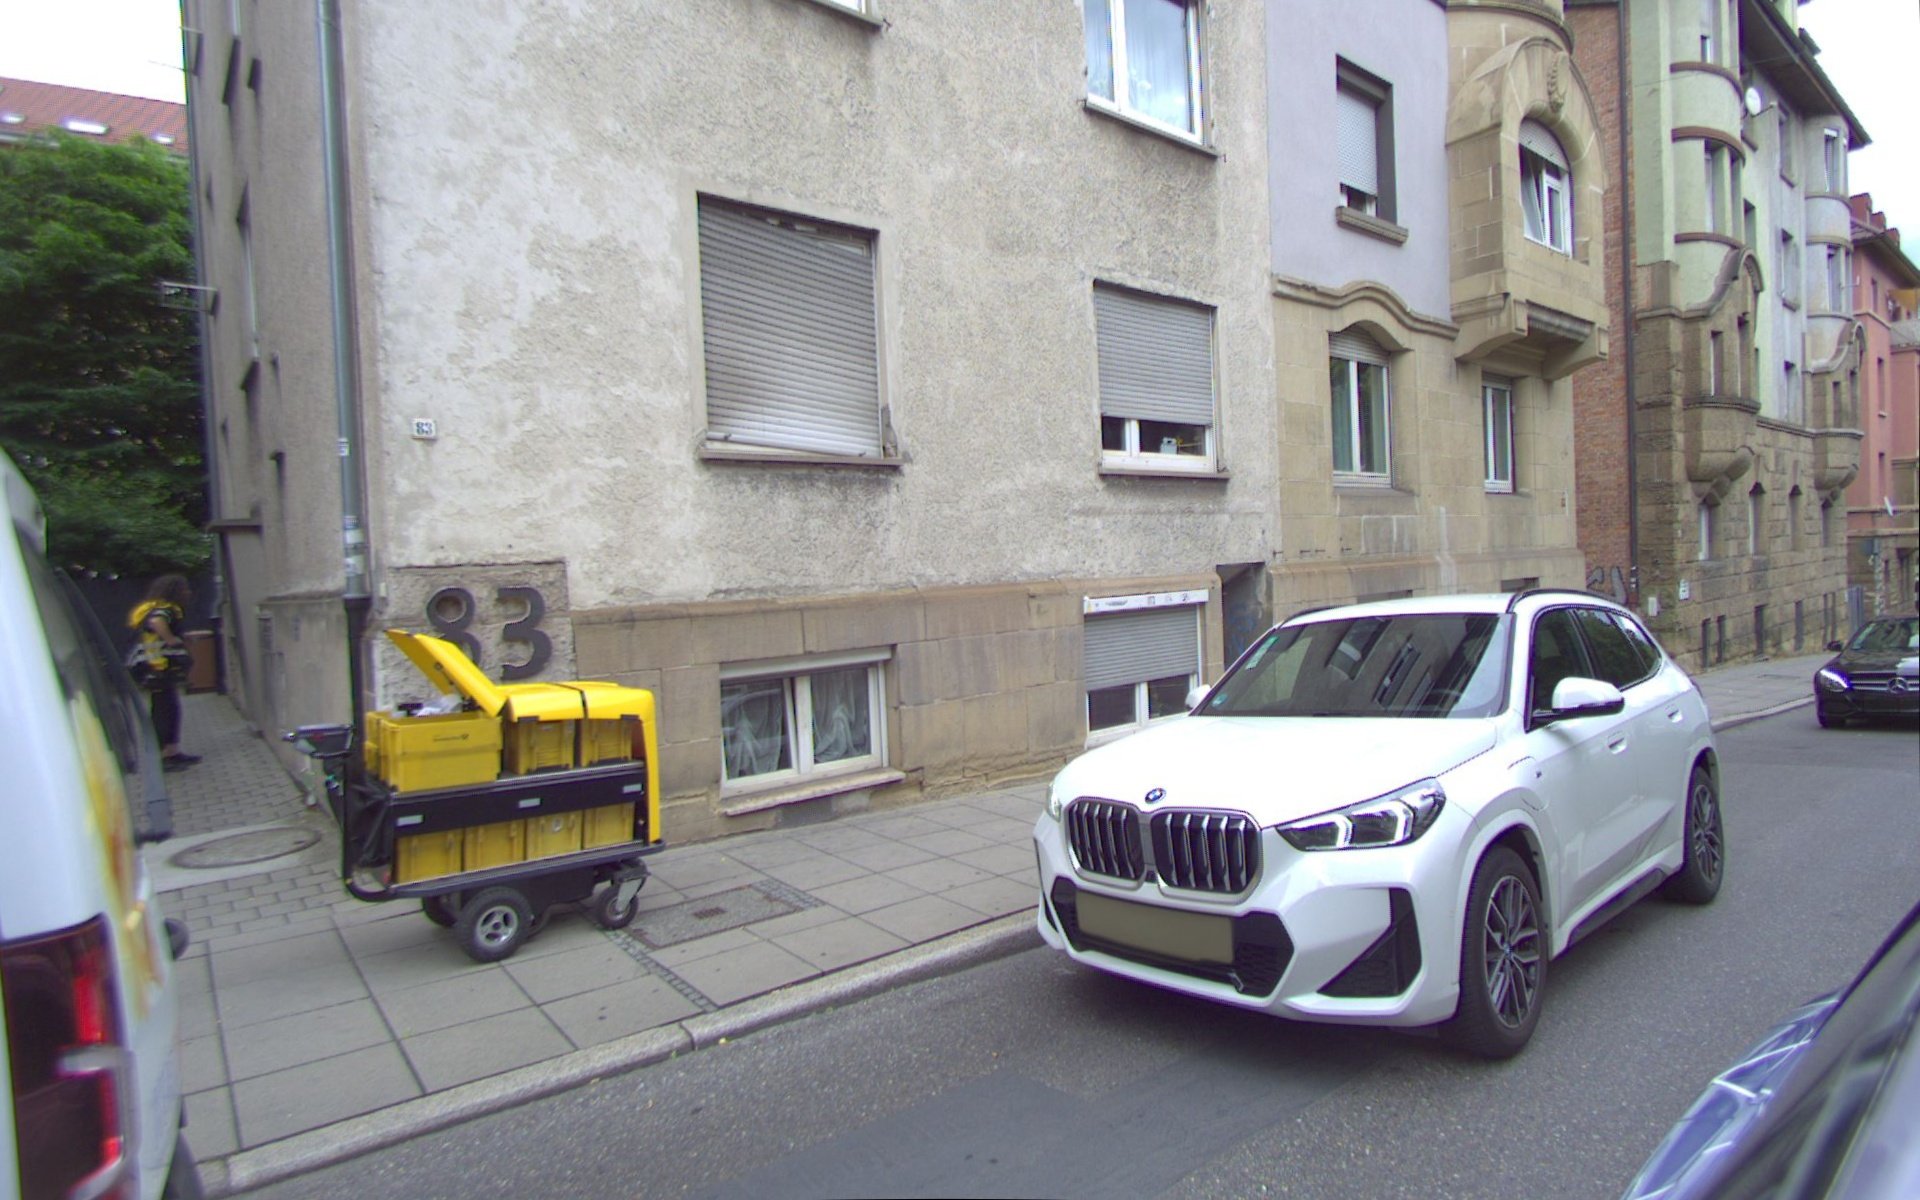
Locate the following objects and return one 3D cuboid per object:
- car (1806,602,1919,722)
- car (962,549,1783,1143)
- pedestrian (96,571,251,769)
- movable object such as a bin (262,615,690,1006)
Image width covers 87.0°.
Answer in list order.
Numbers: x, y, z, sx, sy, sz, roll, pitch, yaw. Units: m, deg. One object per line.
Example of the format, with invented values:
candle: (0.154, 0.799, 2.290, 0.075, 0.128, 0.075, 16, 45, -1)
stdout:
car: (12.759, 0.713, 13.038, 4.201, 1.387, 1.854, 0, -4, -37)
car: (2.324, 0.724, 4.981, 4.483, 1.625, 1.852, 0, -4, -41)
pedestrian: (-7.121, 0.599, 9.205, 0.729, 1.681, 0.765, -3, 2, -6)
movable object such as a bin: (-2.202, 0.827, 4.737, 1.664, 1.438, 0.720, -2, 1, -42)
